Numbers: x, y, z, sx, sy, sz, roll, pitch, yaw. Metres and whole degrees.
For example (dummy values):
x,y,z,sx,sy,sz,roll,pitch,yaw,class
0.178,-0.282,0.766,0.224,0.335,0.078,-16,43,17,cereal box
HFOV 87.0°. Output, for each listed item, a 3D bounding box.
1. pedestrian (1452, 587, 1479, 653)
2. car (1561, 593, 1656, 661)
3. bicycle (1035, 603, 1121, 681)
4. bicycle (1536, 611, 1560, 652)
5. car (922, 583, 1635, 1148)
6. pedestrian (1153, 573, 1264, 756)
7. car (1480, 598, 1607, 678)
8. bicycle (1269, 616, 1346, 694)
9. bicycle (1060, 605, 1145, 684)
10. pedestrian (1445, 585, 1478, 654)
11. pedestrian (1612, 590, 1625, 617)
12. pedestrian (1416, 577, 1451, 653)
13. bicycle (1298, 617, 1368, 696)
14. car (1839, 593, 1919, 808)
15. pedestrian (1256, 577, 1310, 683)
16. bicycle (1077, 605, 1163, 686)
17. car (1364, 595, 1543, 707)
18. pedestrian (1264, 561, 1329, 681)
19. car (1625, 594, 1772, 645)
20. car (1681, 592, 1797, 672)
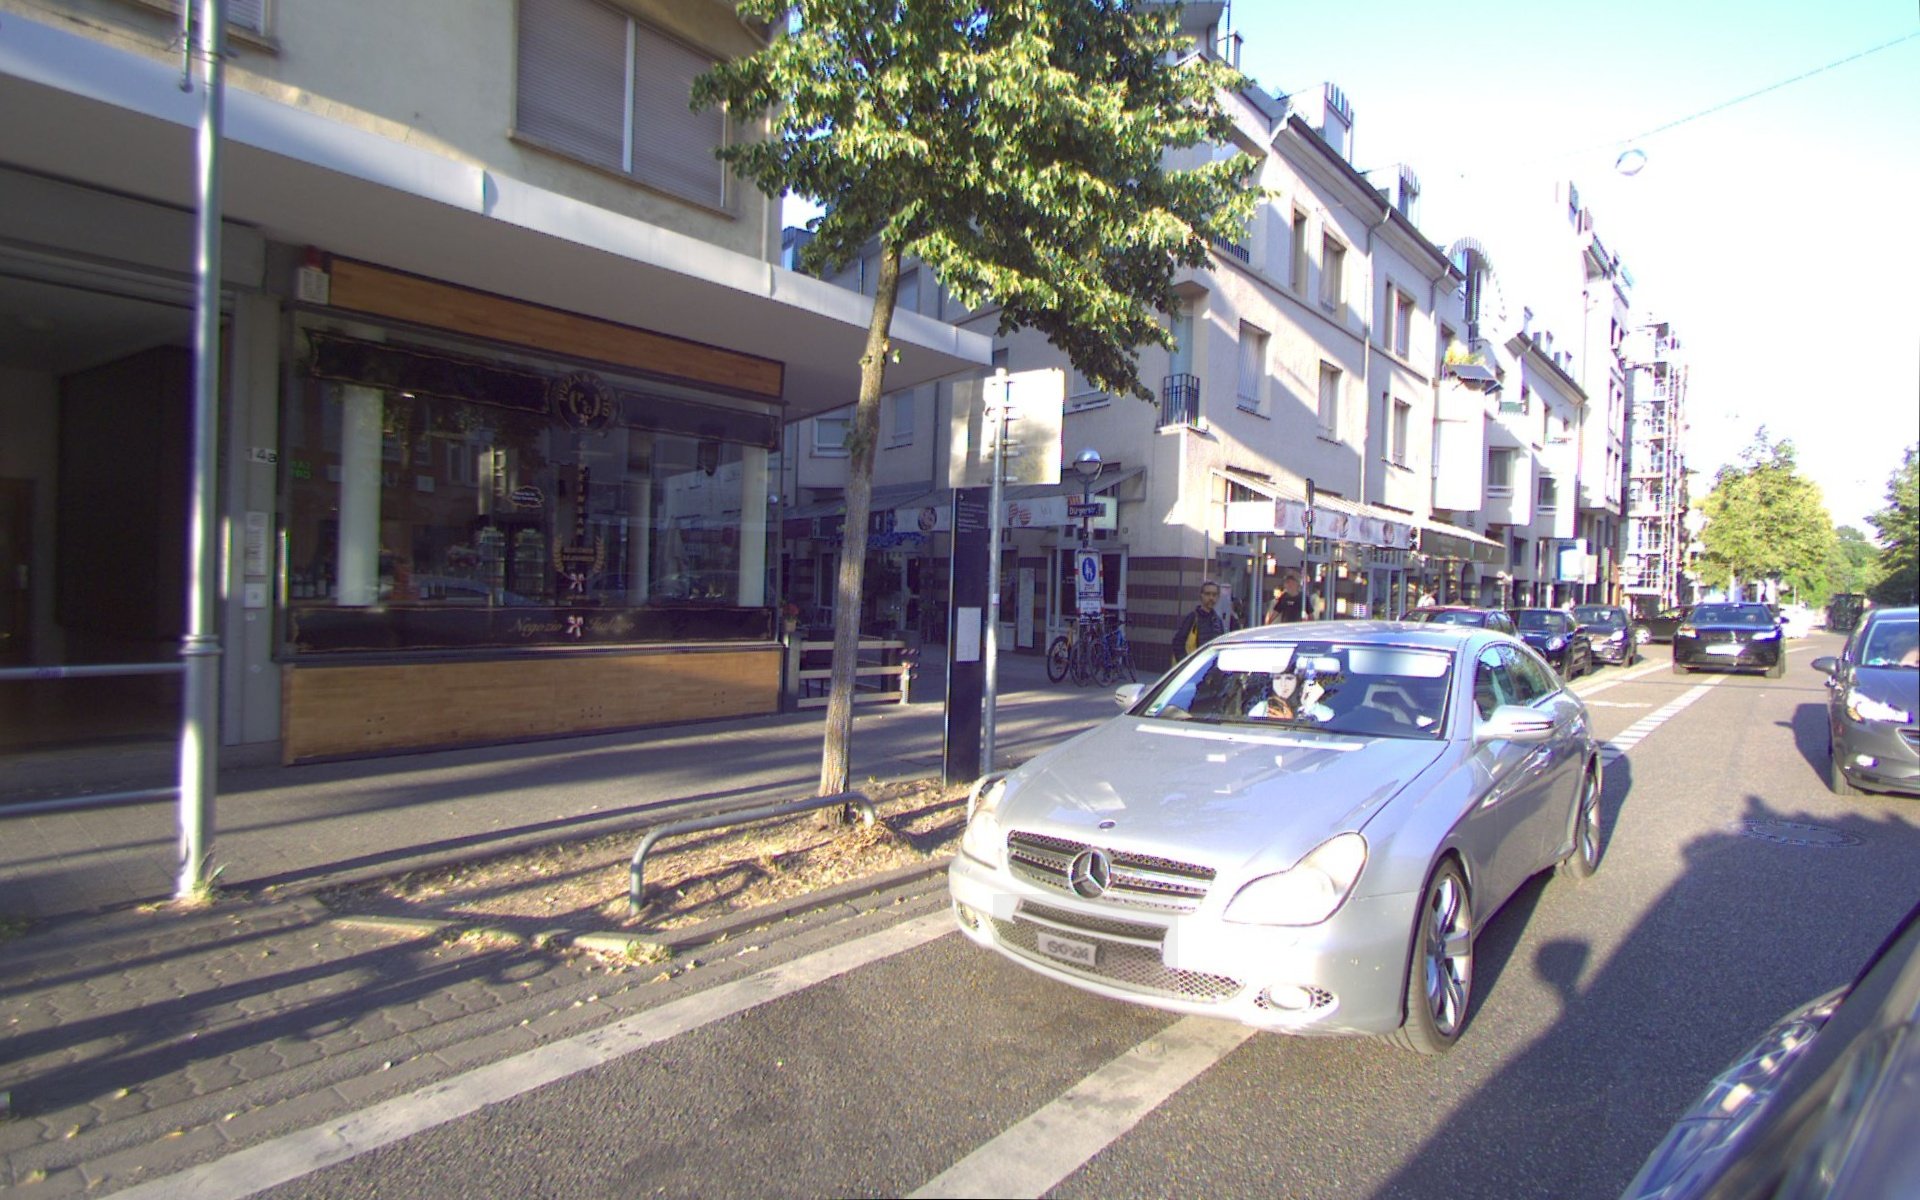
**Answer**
x,y,z,sx,sy,sz,roll,pitch,yaw,class
14.209,0.561,28.429,0.574,1.823,0.443,0,0,42,pedestrian
17.147,0.660,26.690,1.615,1.612,3.868,2,1,40,car
1.852,0.617,15.667,0.320,1.118,1.851,2,1,41,bicycle
16.276,0.859,27.996,0.295,1.099,1.441,1,1,41,bicycle
1.985,0.669,5.003,1.740,1.418,4.572,1,2,40,car
2.416,0.605,9.925,0.688,1.696,0.799,2,2,-13,pedestrian
12.228,0.718,21.113,1.615,1.452,3.868,3,2,40,car
5.211,0.793,15.098,0.314,1.059,1.853,3,2,43,bicycle
2.179,0.643,15.328,0.290,1.118,1.859,2,1,41,bicycle
12.017,0.458,24.229,0.519,1.612,0.402,5,3,41,pedestrian
31.365,0.156,48.214,0.490,1.279,0.415,0,0,40,pedestrian
11.441,0.345,24.443,0.543,1.779,0.495,5,3,41,pedestrian
5.507,0.804,14.900,0.314,1.059,1.638,3,2,43,bicycle
8.182,0.706,8.151,1.616,1.492,3.634,0,0,41,car
5.620,0.502,17.598,0.629,1.771,0.660,3,2,41,pedestrian
2.416,0.654,15.121,0.320,1.118,1.851,2,1,41,bicycle
7.785,0.701,15.795,1.587,1.451,3.868,4,2,40,car
5.521,0.338,16.591,0.776,1.907,0.660,-2,-2,41,pedestrian
28.221,0.695,38.765,1.706,1.696,4.287,1,1,-43,car
17.913,0.669,23.200,1.884,1.656,4.165,0,0,41,car
